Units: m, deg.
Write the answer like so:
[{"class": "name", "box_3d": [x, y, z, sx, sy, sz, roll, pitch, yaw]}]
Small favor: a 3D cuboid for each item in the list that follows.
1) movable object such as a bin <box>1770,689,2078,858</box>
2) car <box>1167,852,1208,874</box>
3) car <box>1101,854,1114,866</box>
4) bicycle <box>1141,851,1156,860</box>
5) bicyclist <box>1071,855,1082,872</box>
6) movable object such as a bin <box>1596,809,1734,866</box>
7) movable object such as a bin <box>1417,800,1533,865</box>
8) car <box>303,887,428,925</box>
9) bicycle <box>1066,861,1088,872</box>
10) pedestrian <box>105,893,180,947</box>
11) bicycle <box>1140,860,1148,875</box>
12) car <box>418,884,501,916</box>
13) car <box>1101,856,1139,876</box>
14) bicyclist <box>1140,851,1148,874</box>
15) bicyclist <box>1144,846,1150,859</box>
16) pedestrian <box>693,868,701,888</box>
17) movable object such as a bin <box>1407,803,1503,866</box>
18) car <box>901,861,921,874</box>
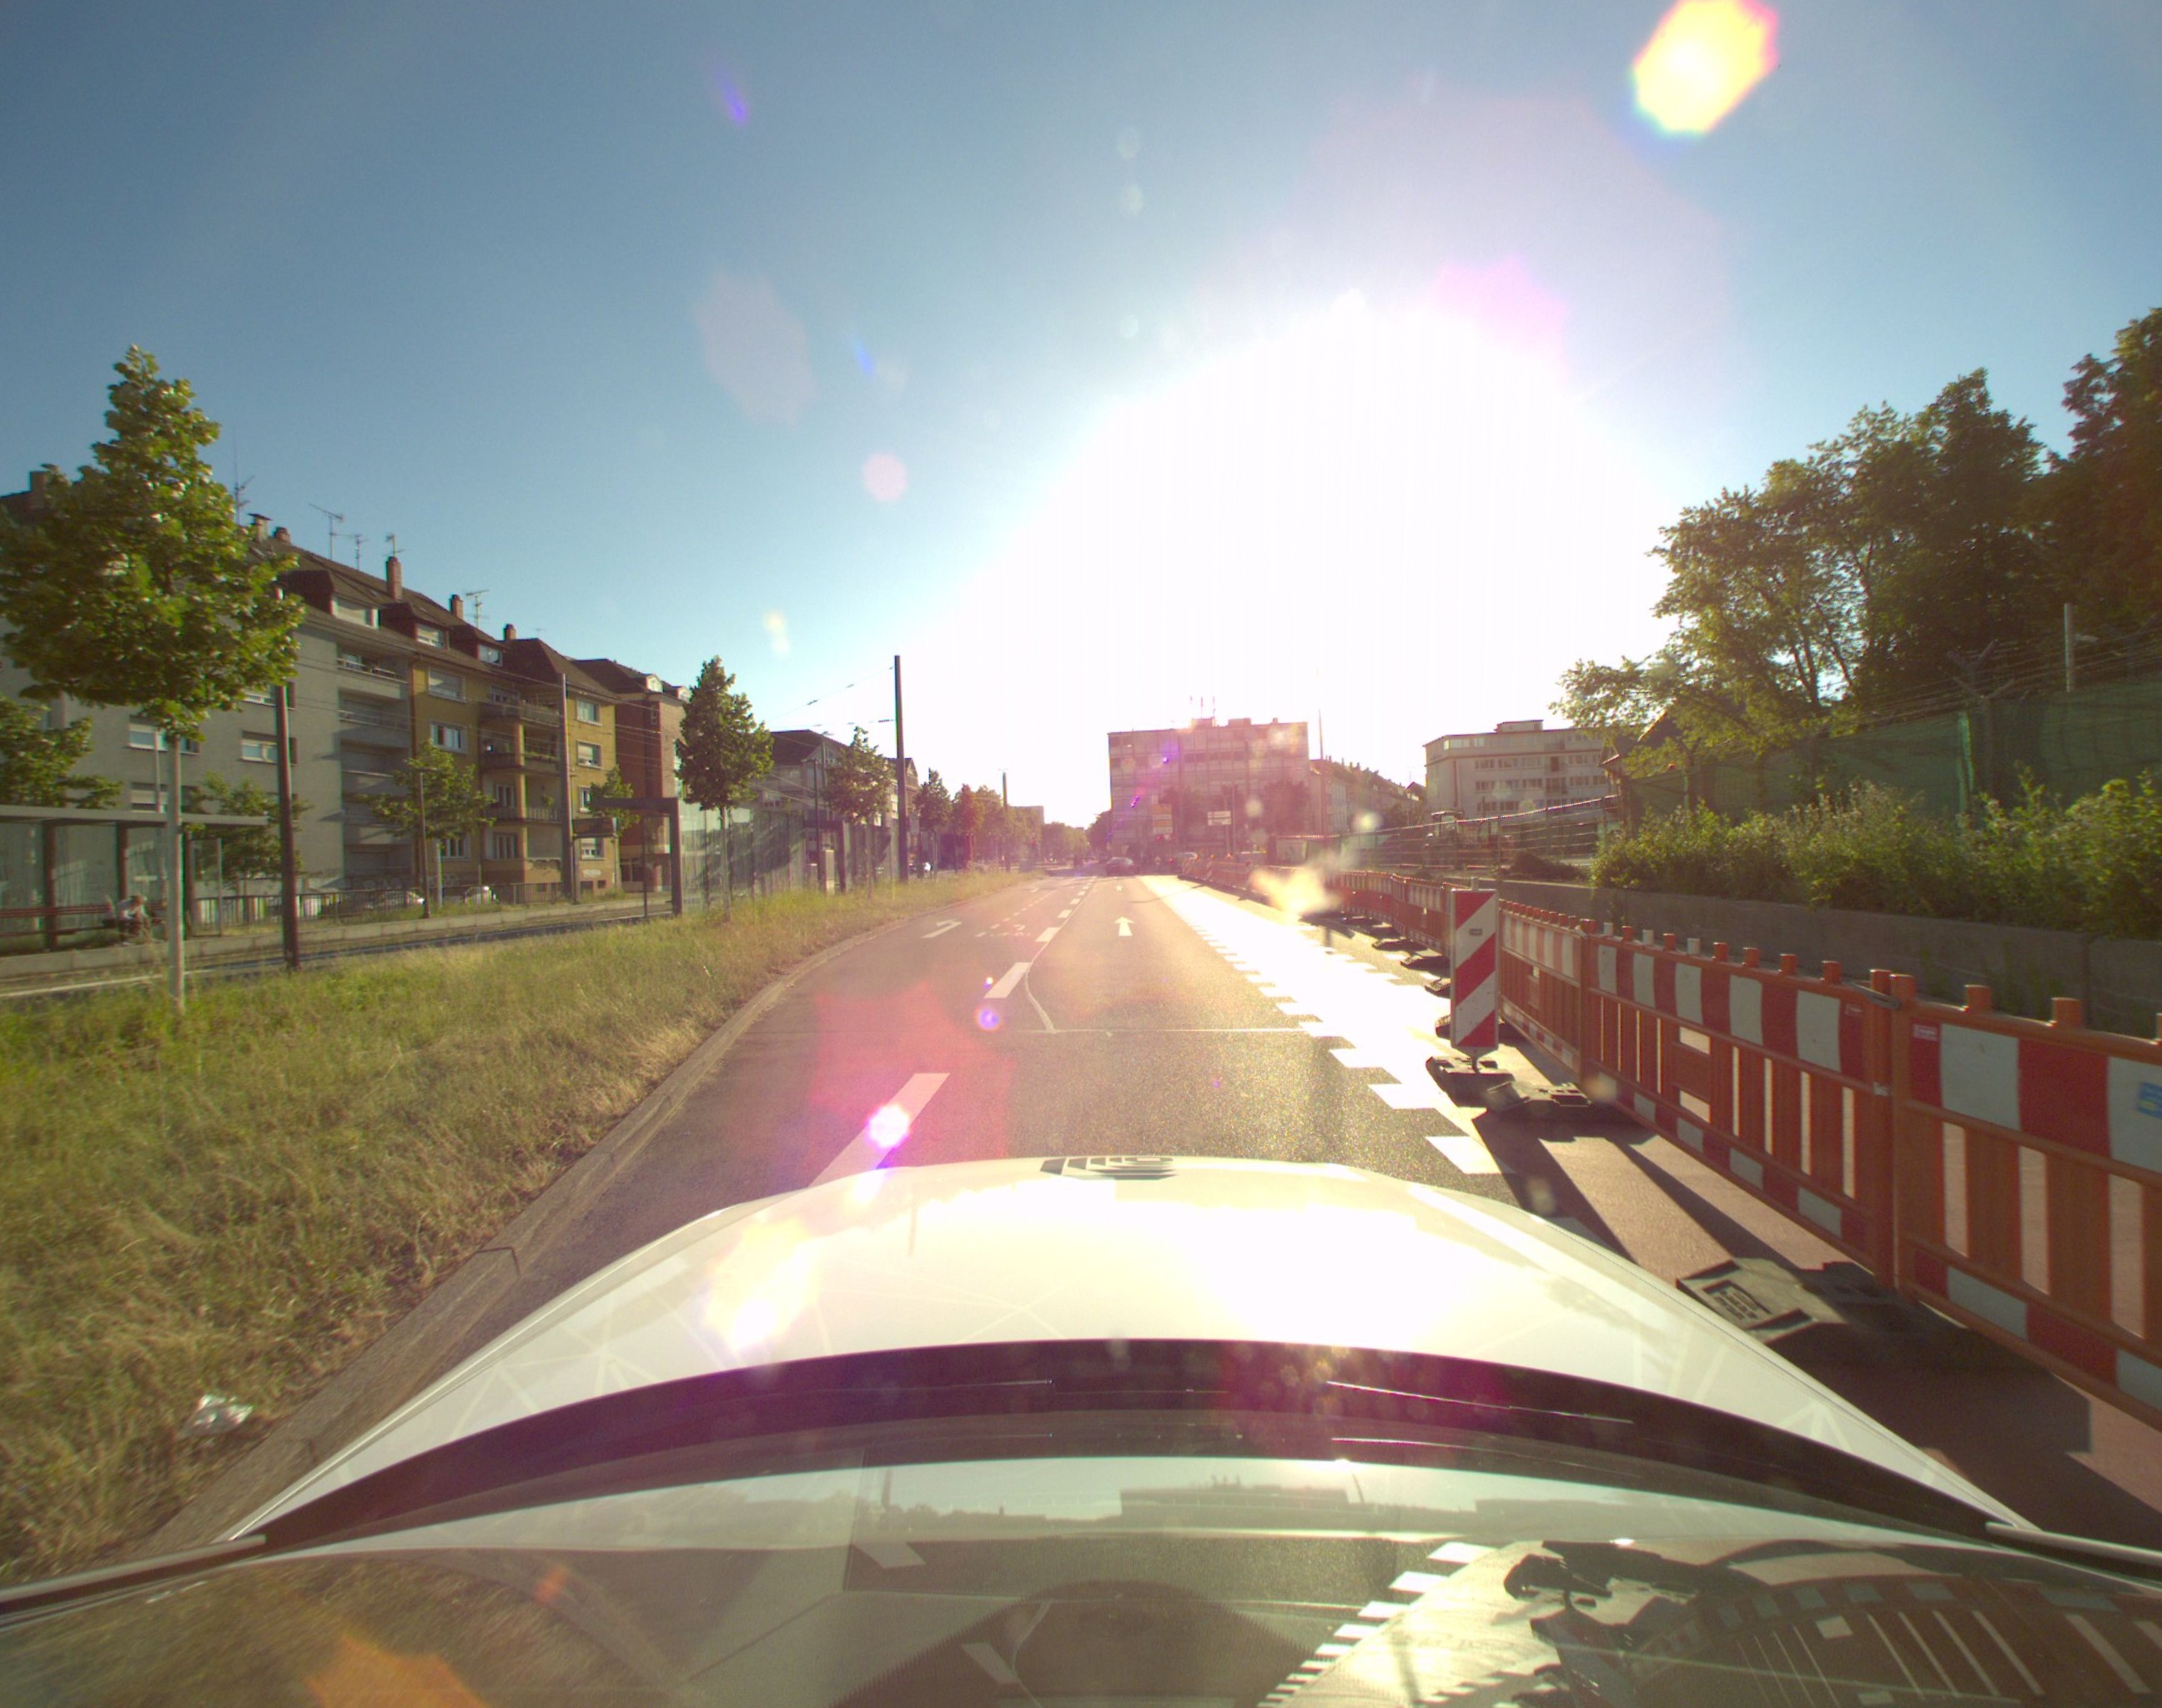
[{"class": "movable object such as a bin", "box_3d": [20.552, -1.747, 20.377, 2.264, 3.557, 5.509, -2, 0, 6]}, {"class": "car", "box_3d": [9.029, 0.725, 69.012, 1.974, 1.693, 4.026, 0, 1, 31]}, {"class": "car", "box_3d": [5.500, 1.226, 168.533, 2.477, 2.392, 5.936, -4, -1, 1]}, {"class": "bicycle", "box_3d": [8.892, 0.170, 107.529, 1.775, 1.072, 0.533, -3, 0, -9]}, {"class": "bicyclist", "box_3d": [-0.461, 0.969, 84.353, 0.954, 1.661, 0.692, -2, 0, 5]}, {"class": "movable object such as a bin", "box_3d": [28.444, -0.782, 39.818, 5.017, 2.323, 2.222, -3, -5, -2]}, {"class": "movable object such as a bin", "box_3d": [23.762, -1.246, 49.277, 6.004, 3.557, 2.879, -2, 0, 27]}, {"class": "car", "box_3d": [-34.425, 2.469, 39.380, 1.986, 1.508, 4.433, -3, 0, 1]}, {"class": "bicycle", "box_3d": [-0.430, 1.304, 84.351, 2.216, 1.026, 0.683, -2, 0, 4]}, {"class": "pedestrian", "box_3d": [-19.836, 1.384, 17.235, 0.625, 1.047, 0.794, -2, 0, 1]}, {"class": "bicycle", "box_3d": [5.546, 1.135, 71.395, 0.642, 1.223, 2.050, 0, 1, 3]}, {"class": "car", "box_3d": [-34.173, 2.483, 44.889, 1.741, 1.486, 3.554, -3, 0, 1]}, {"class": "car", "box_3d": [3.201, 0.944, 65.614, 1.728, 1.426, 4.022, -2, 0, 23]}, {"class": "bicyclist", "box_3d": [5.527, 0.728, 71.439, 0.641, 2.013, 1.068, -1, 1, 2]}, {"class": "bicyclist", "box_3d": [8.742, -0.148, 107.505, 0.663, 1.712, 0.537, -3, -1, -8]}, {"class": "pedestrian", "box_3d": [-35.666, 2.245, 75.659, 0.483, 1.822, 0.548, -2, 0, -1]}, {"class": "movable object such as a bin", "box_3d": [17.379, -0.849, 38.175, 2.267, 2.704, 4.944, -2, 0, 1]}, {"class": "car", "box_3d": [-26.472, 2.056, 126.866, 1.985, 1.860, 4.005, -3, 0, 4]}]
